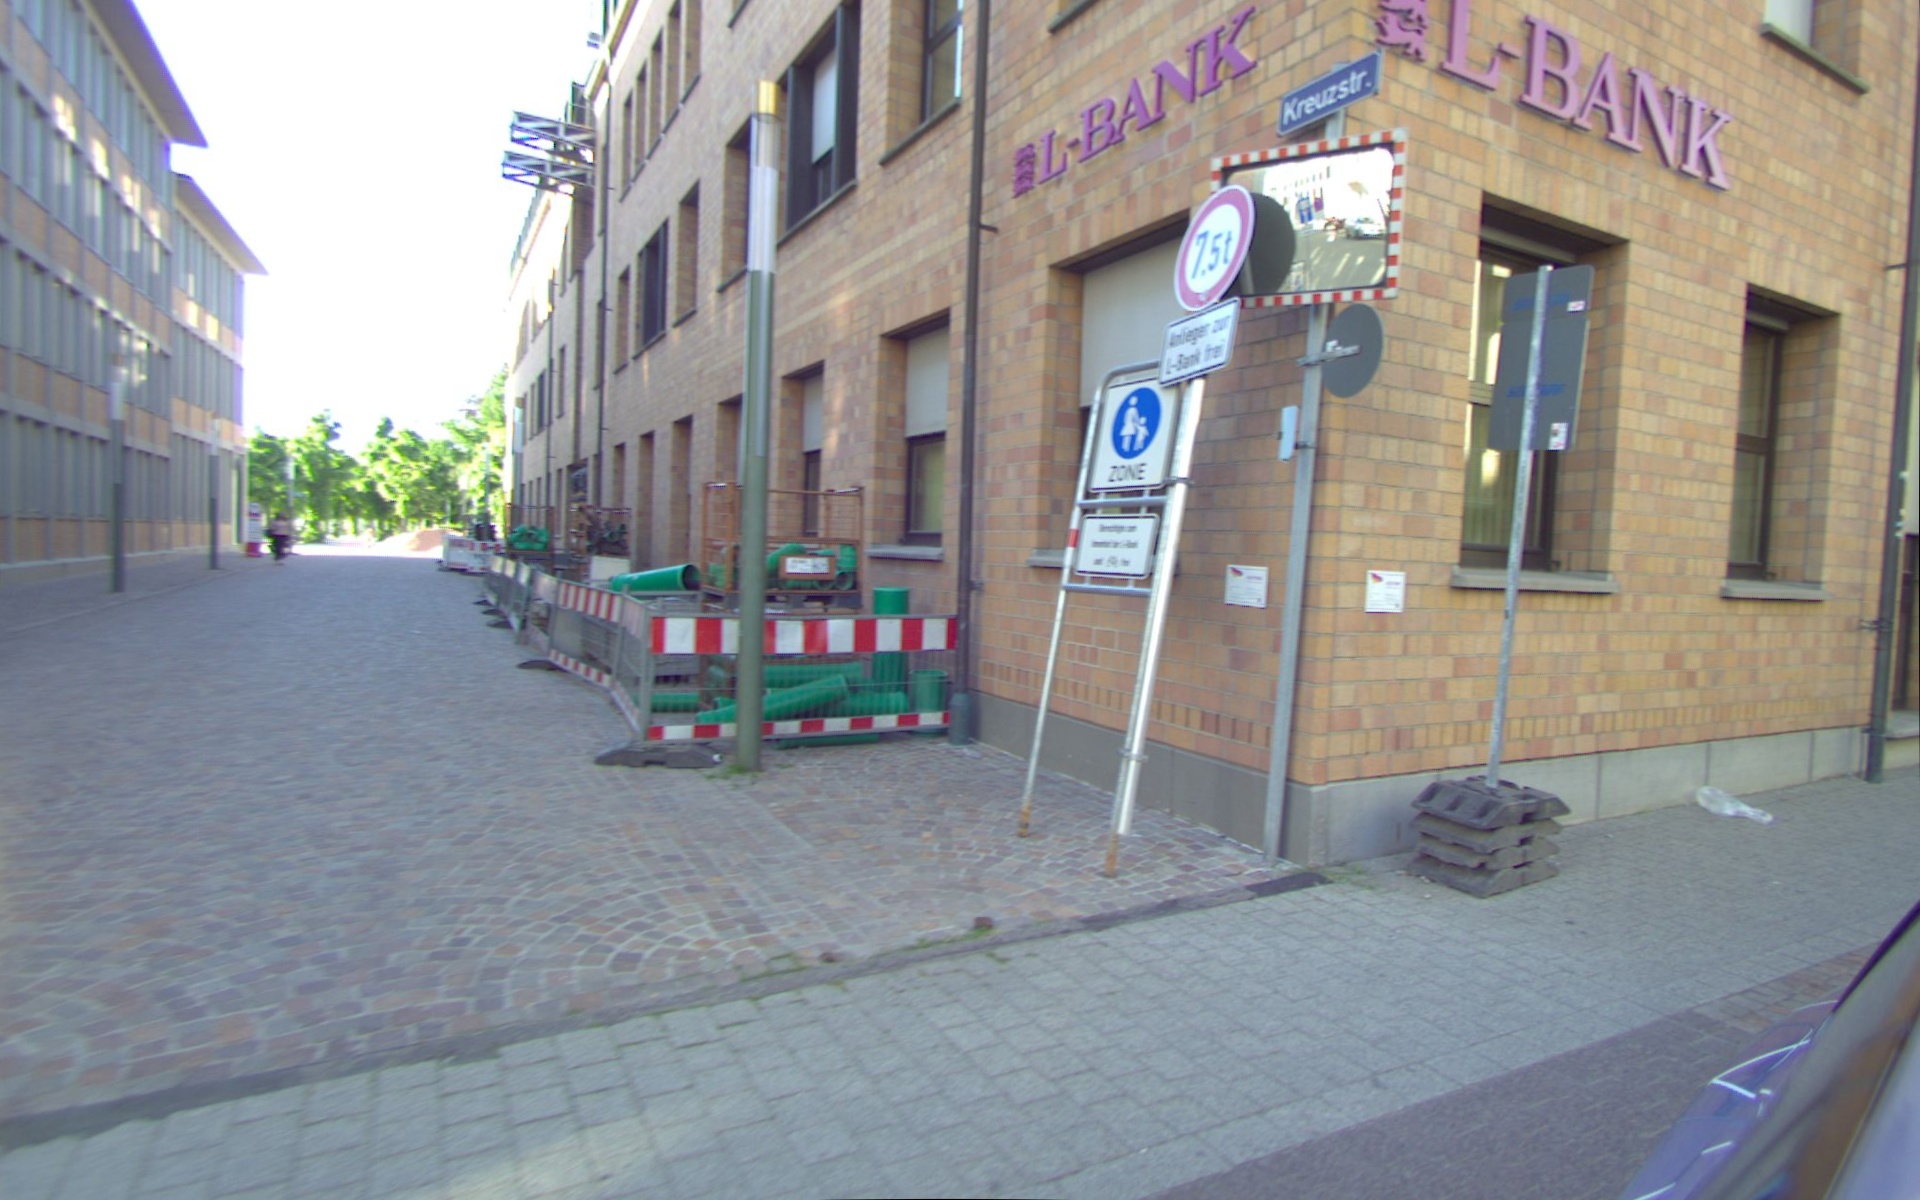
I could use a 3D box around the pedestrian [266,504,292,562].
[{"bbox_3d":[-22.040,-2.159,32.775,0.626,1.808,0.653,1,1,-29],"label":"pedestrian"}]
